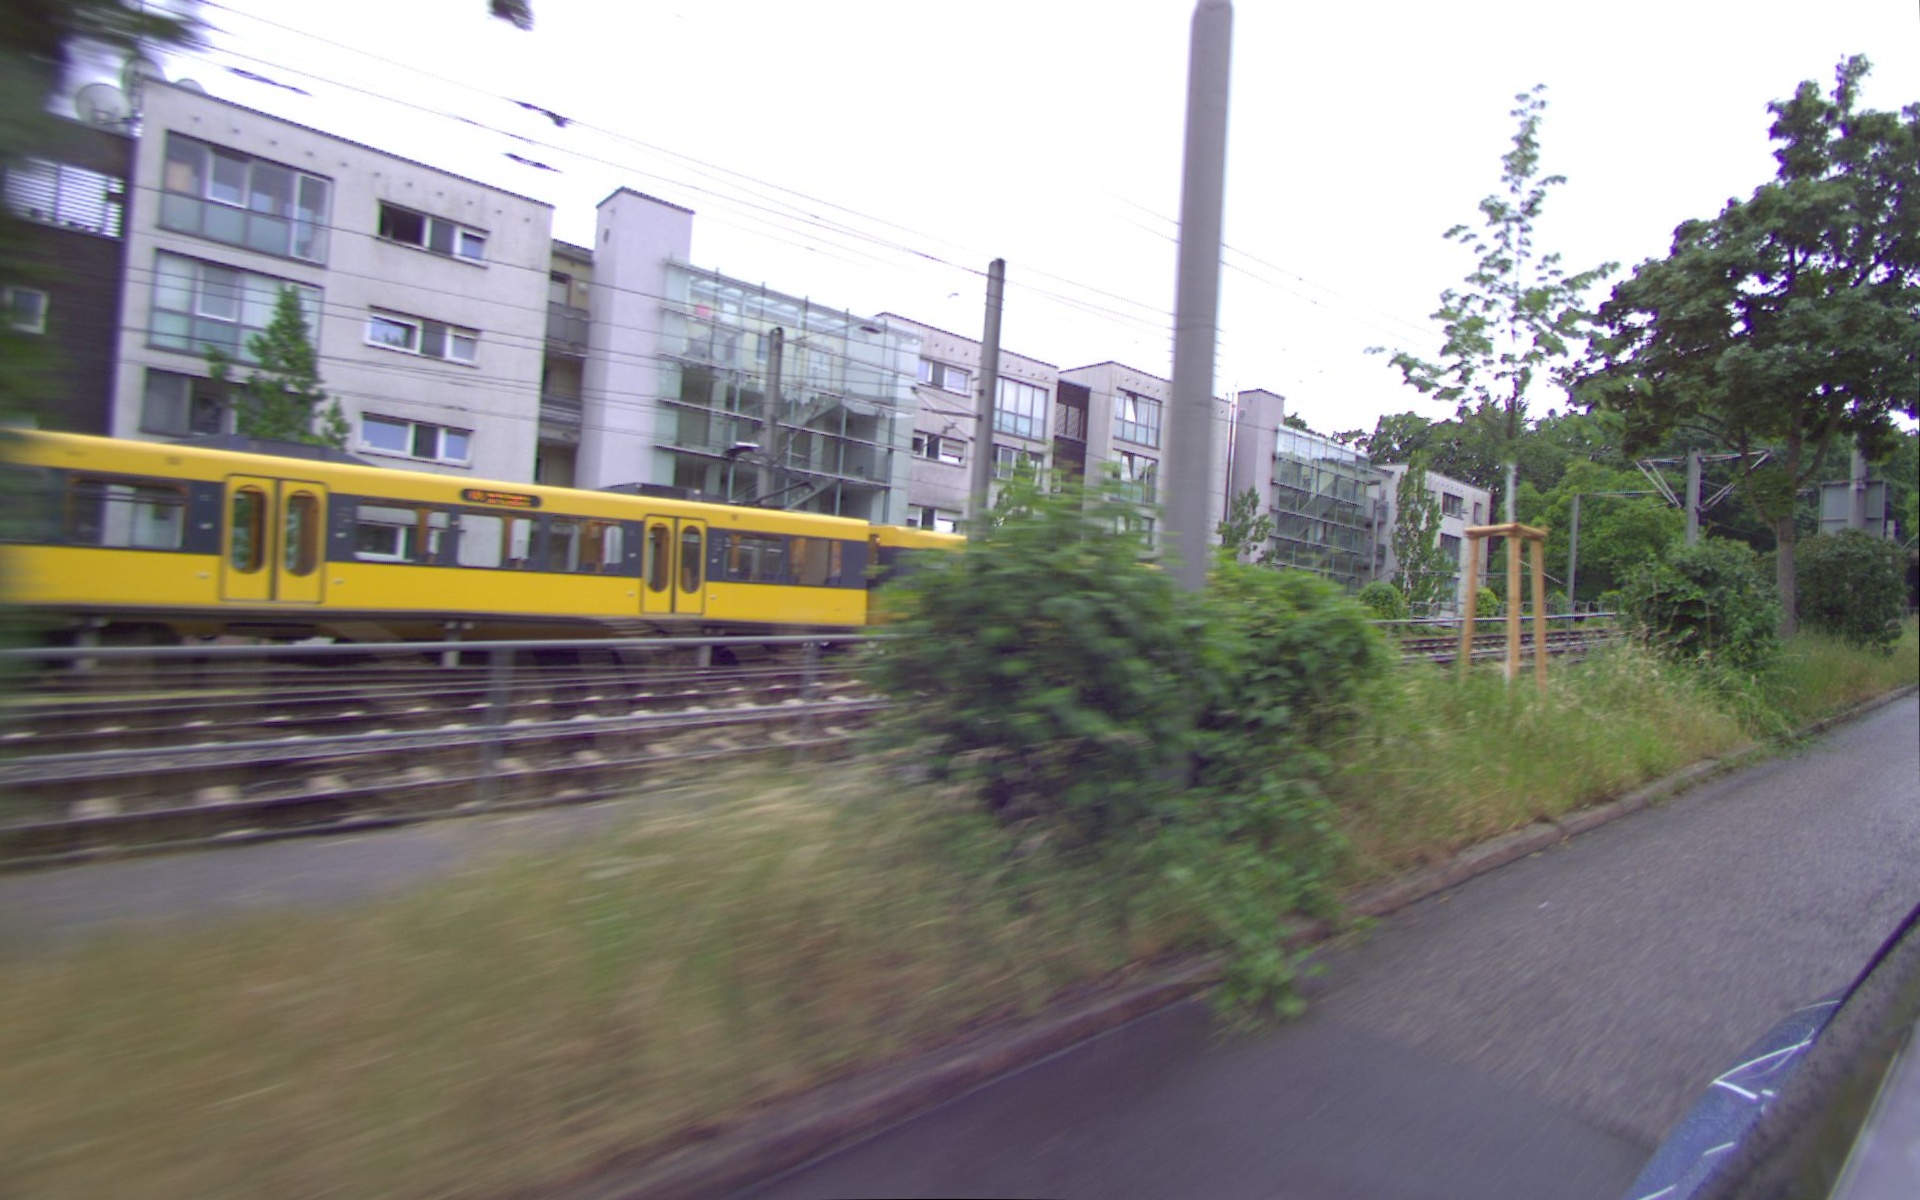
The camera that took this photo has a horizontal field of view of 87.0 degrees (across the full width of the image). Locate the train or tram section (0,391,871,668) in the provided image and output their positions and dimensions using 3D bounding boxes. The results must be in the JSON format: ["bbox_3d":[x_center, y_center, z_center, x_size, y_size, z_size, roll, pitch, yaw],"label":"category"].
[{"bbox_3d":[-10.299,-0.886,19.975,18.479,3.997,3.337,2,0,-41],"label":"train or tram section"}]

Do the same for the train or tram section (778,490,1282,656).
[{"bbox_3d":[3.418,-0.693,31.802,18.942,3.997,3.337,0,1,-41],"label":"train or tram section"}]
